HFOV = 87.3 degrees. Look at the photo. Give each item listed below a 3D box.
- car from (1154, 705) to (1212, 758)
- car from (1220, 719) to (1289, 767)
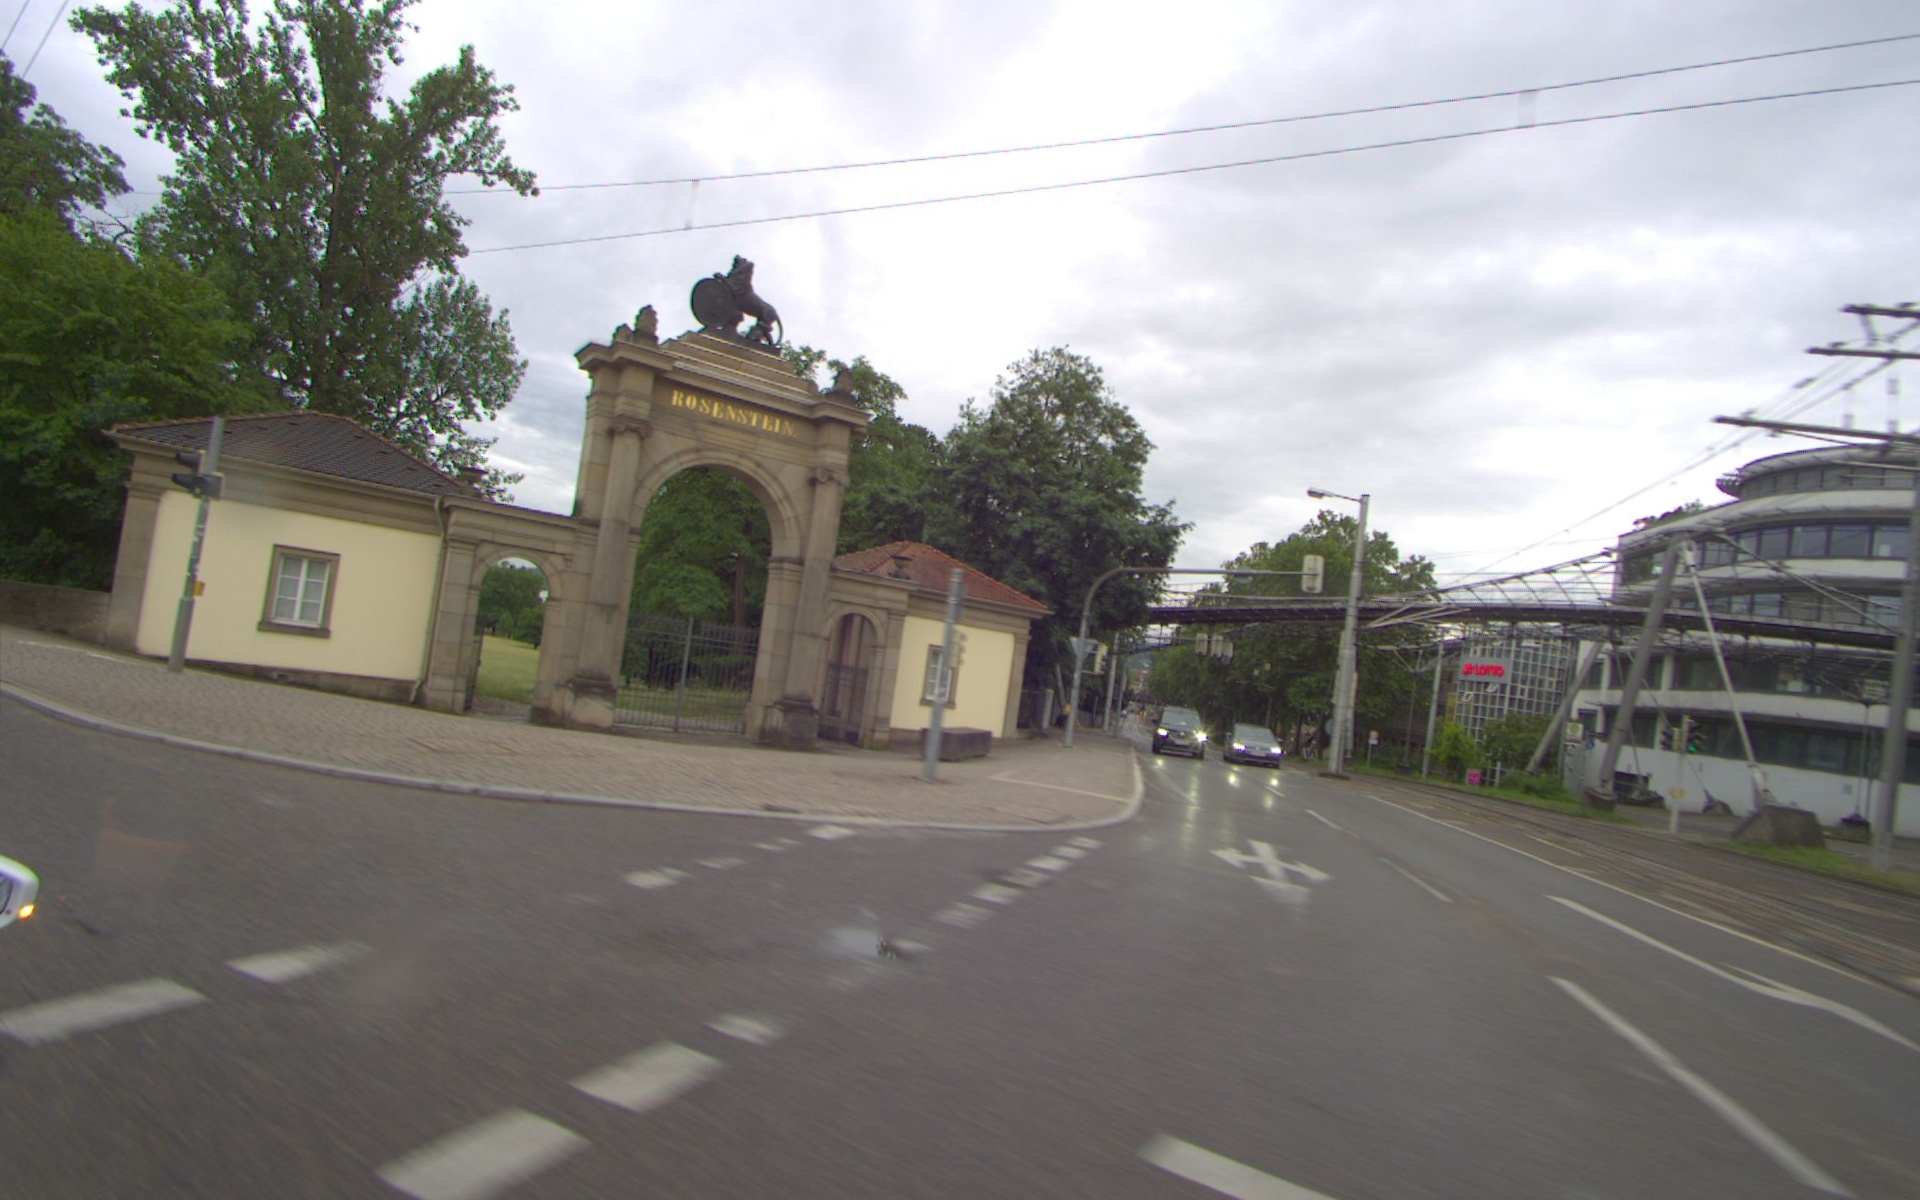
[{"bbox_3d":[8.336,4.896,37.876,1.961,1.752,4.273,3,-5,11],"label":"car"},{"bbox_3d":[10.728,5.200,36.900,1.961,1.470,4.273,3,-5,11],"label":"car"}]
